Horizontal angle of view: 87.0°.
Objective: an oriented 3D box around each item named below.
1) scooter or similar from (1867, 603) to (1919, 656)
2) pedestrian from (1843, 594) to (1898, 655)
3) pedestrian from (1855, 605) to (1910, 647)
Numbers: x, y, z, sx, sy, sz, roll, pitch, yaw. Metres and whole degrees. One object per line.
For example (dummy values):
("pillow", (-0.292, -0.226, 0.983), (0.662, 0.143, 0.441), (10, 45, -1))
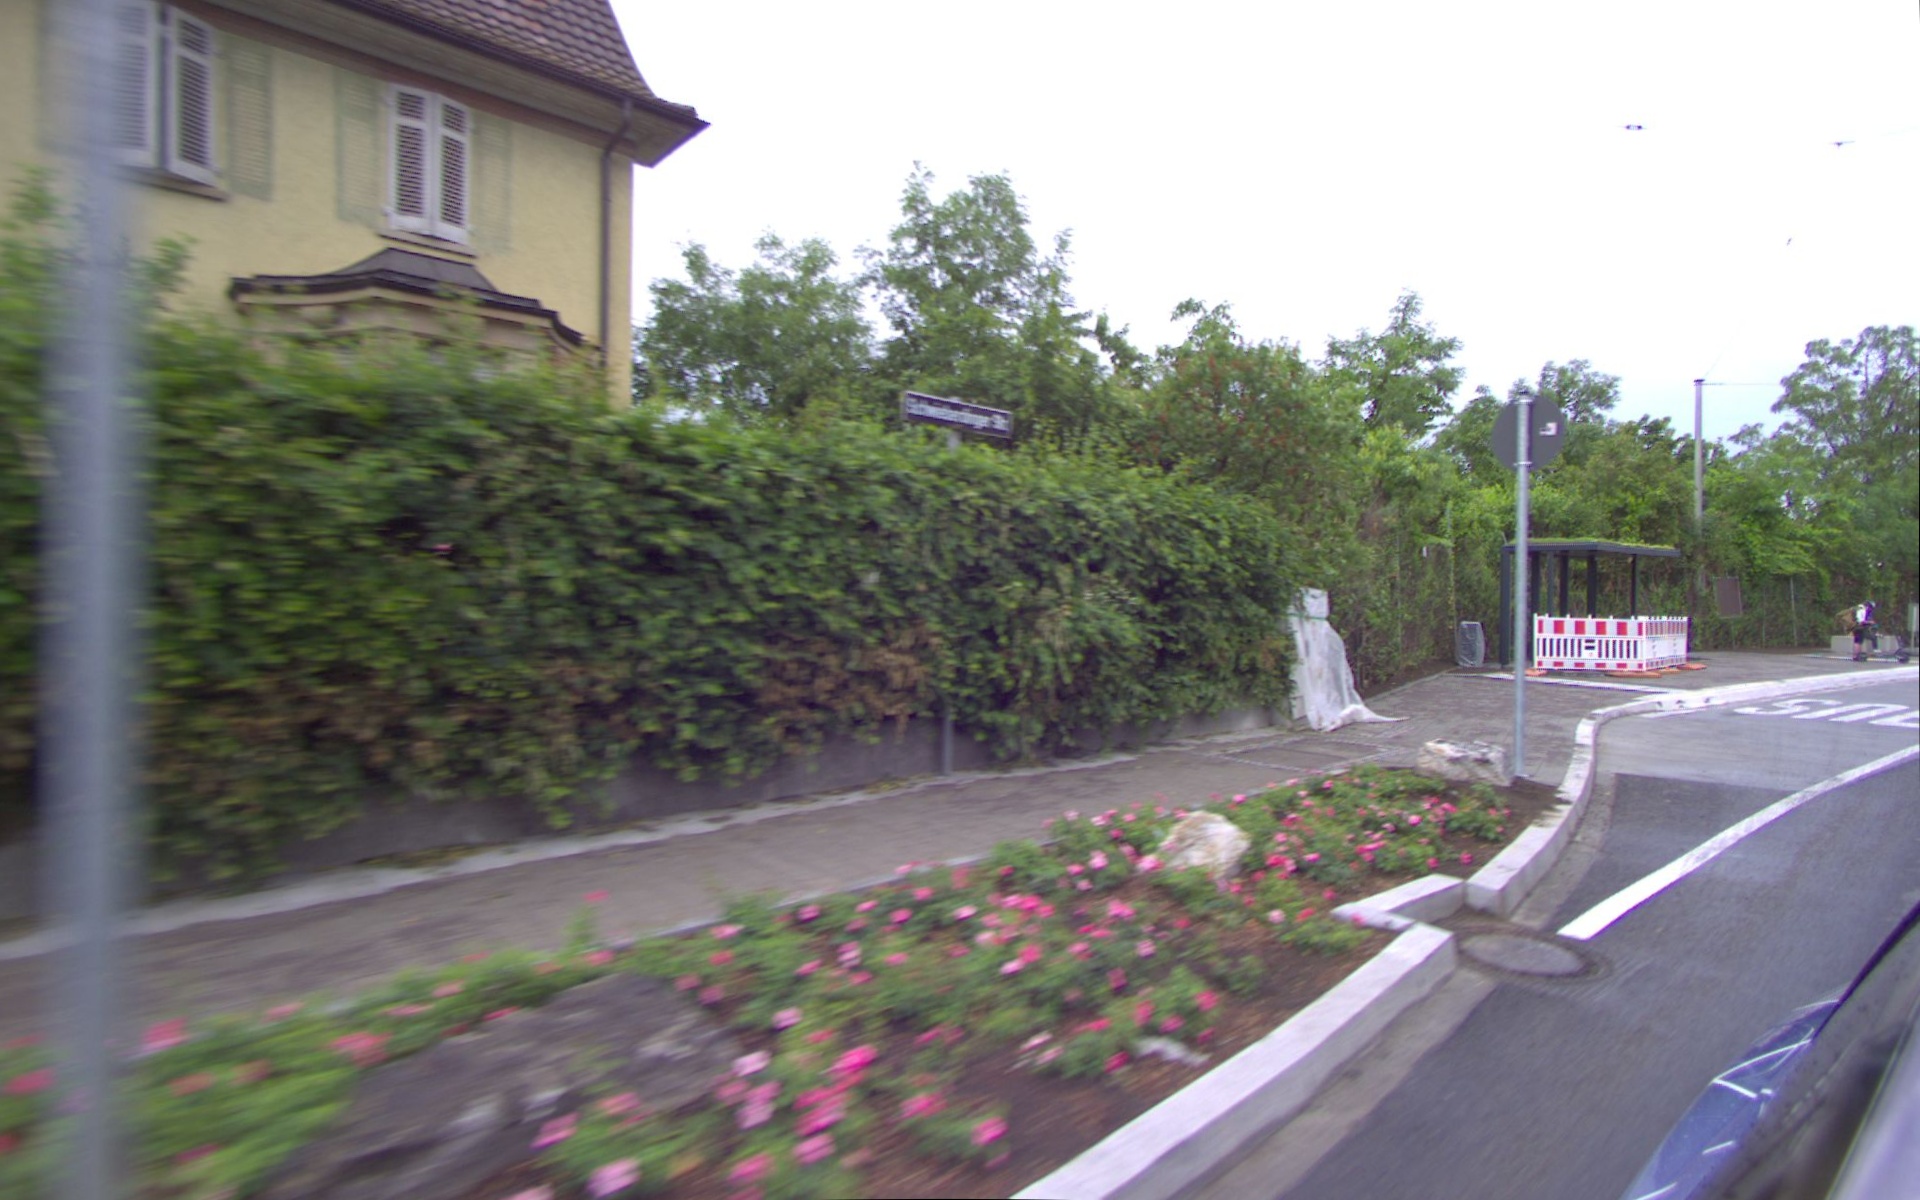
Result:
("scooter or similar", (24.173, 0.765, 26.070), (1.225, 1.332, 0.231), (1, 0, 16))
("pedestrian", (23.785, 0.633, 26.451), (0.908, 1.566, 0.542), (1, 0, 18))
("pedestrian", (30.049, 0.834, 32.986), (1.054, 1.346, 0.805), (1, 0, 18))
